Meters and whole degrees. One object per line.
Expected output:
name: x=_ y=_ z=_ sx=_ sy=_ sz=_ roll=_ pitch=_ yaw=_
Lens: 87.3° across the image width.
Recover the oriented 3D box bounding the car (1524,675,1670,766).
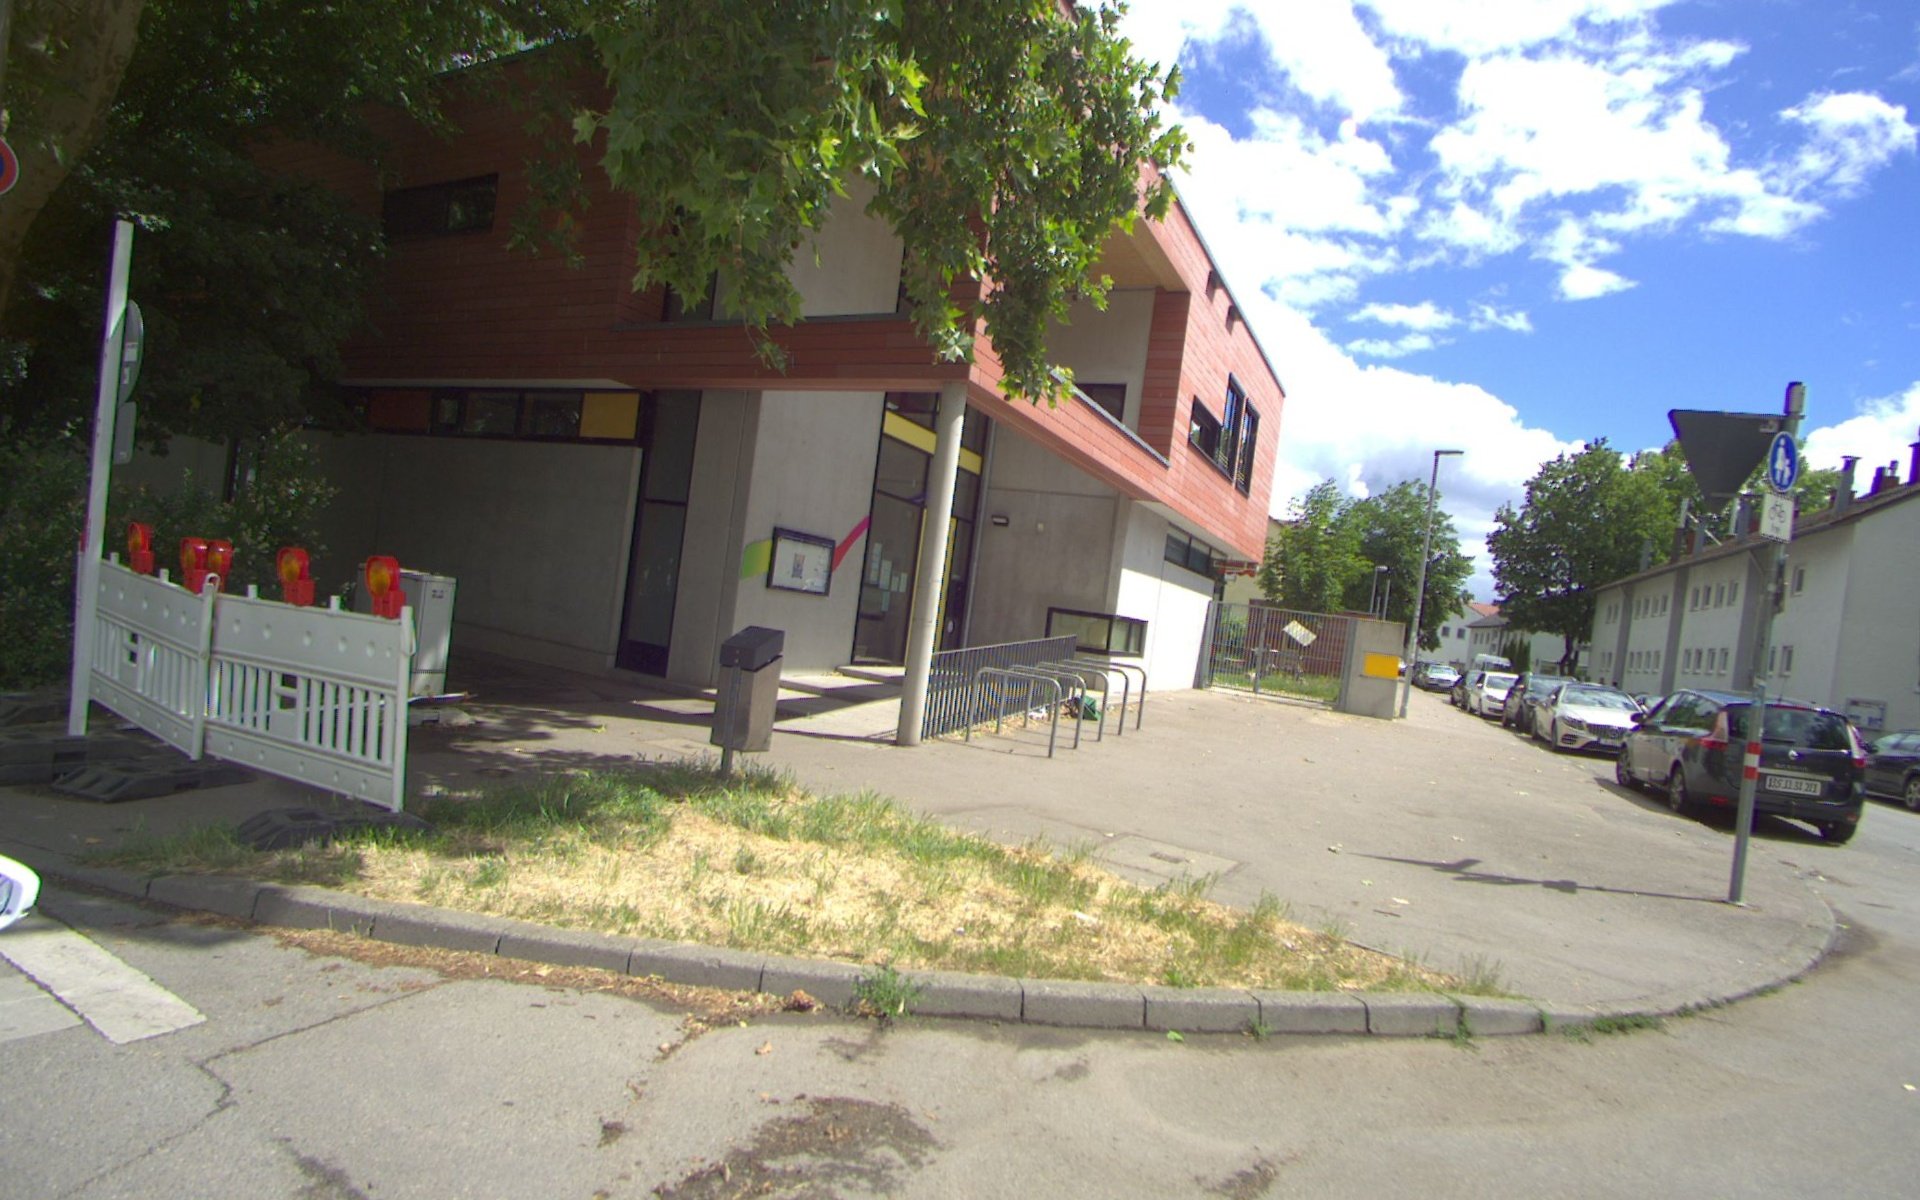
car: x=13.754 y=2.535 z=21.992 sx=1.858 sy=1.474 sz=4.242 roll=7 pitch=0 yaw=23

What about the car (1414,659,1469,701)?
car: x=24.458 y=4.027 z=51.241 sx=1.963 sy=1.771 sz=3.999 roll=7 pitch=0 yaw=21

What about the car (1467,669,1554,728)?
car: x=17.540 y=3.088 z=32.264 sx=1.858 sy=1.474 sz=4.242 roll=7 pitch=0 yaw=23

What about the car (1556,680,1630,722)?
car: x=28.249 y=4.471 z=45.028 sx=1.923 sy=1.425 sz=4.061 roll=7 pitch=0 yaw=22

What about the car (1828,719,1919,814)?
car: x=18.175 y=3.179 z=18.546 sx=1.841 sy=1.472 sz=4.122 roll=7 pitch=0 yaw=21

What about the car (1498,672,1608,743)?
car: x=15.930 y=2.826 z=27.245 sx=1.858 sy=1.474 sz=4.242 roll=7 pitch=0 yaw=23

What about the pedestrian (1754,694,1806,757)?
pedestrian: x=25.209 y=3.842 z=30.949 sx=0.824 sy=1.775 sz=0.953 roll=7 pitch=-1 yaw=22

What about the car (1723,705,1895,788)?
car: x=20.899 y=3.552 z=24.992 sx=1.923 sy=1.425 sz=4.061 roll=7 pitch=0 yaw=22

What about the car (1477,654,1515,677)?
car: x=39.384 y=4.807 z=73.998 sx=1.923 sy=1.426 sz=4.060 roll=7 pitch=0 yaw=22

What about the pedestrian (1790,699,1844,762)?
pedestrian: x=26.094 y=3.953 z=30.653 sx=0.824 sy=1.775 sz=0.953 roll=7 pitch=-1 yaw=22

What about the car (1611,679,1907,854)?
car: x=10.391 y=2.038 z=13.514 sx=1.858 sy=1.624 sz=4.242 roll=7 pitch=0 yaw=23

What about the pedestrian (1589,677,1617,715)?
pedestrian: x=32.186 y=4.806 z=50.349 sx=0.824 sy=1.775 sz=0.953 roll=7 pitch=-1 yaw=22
